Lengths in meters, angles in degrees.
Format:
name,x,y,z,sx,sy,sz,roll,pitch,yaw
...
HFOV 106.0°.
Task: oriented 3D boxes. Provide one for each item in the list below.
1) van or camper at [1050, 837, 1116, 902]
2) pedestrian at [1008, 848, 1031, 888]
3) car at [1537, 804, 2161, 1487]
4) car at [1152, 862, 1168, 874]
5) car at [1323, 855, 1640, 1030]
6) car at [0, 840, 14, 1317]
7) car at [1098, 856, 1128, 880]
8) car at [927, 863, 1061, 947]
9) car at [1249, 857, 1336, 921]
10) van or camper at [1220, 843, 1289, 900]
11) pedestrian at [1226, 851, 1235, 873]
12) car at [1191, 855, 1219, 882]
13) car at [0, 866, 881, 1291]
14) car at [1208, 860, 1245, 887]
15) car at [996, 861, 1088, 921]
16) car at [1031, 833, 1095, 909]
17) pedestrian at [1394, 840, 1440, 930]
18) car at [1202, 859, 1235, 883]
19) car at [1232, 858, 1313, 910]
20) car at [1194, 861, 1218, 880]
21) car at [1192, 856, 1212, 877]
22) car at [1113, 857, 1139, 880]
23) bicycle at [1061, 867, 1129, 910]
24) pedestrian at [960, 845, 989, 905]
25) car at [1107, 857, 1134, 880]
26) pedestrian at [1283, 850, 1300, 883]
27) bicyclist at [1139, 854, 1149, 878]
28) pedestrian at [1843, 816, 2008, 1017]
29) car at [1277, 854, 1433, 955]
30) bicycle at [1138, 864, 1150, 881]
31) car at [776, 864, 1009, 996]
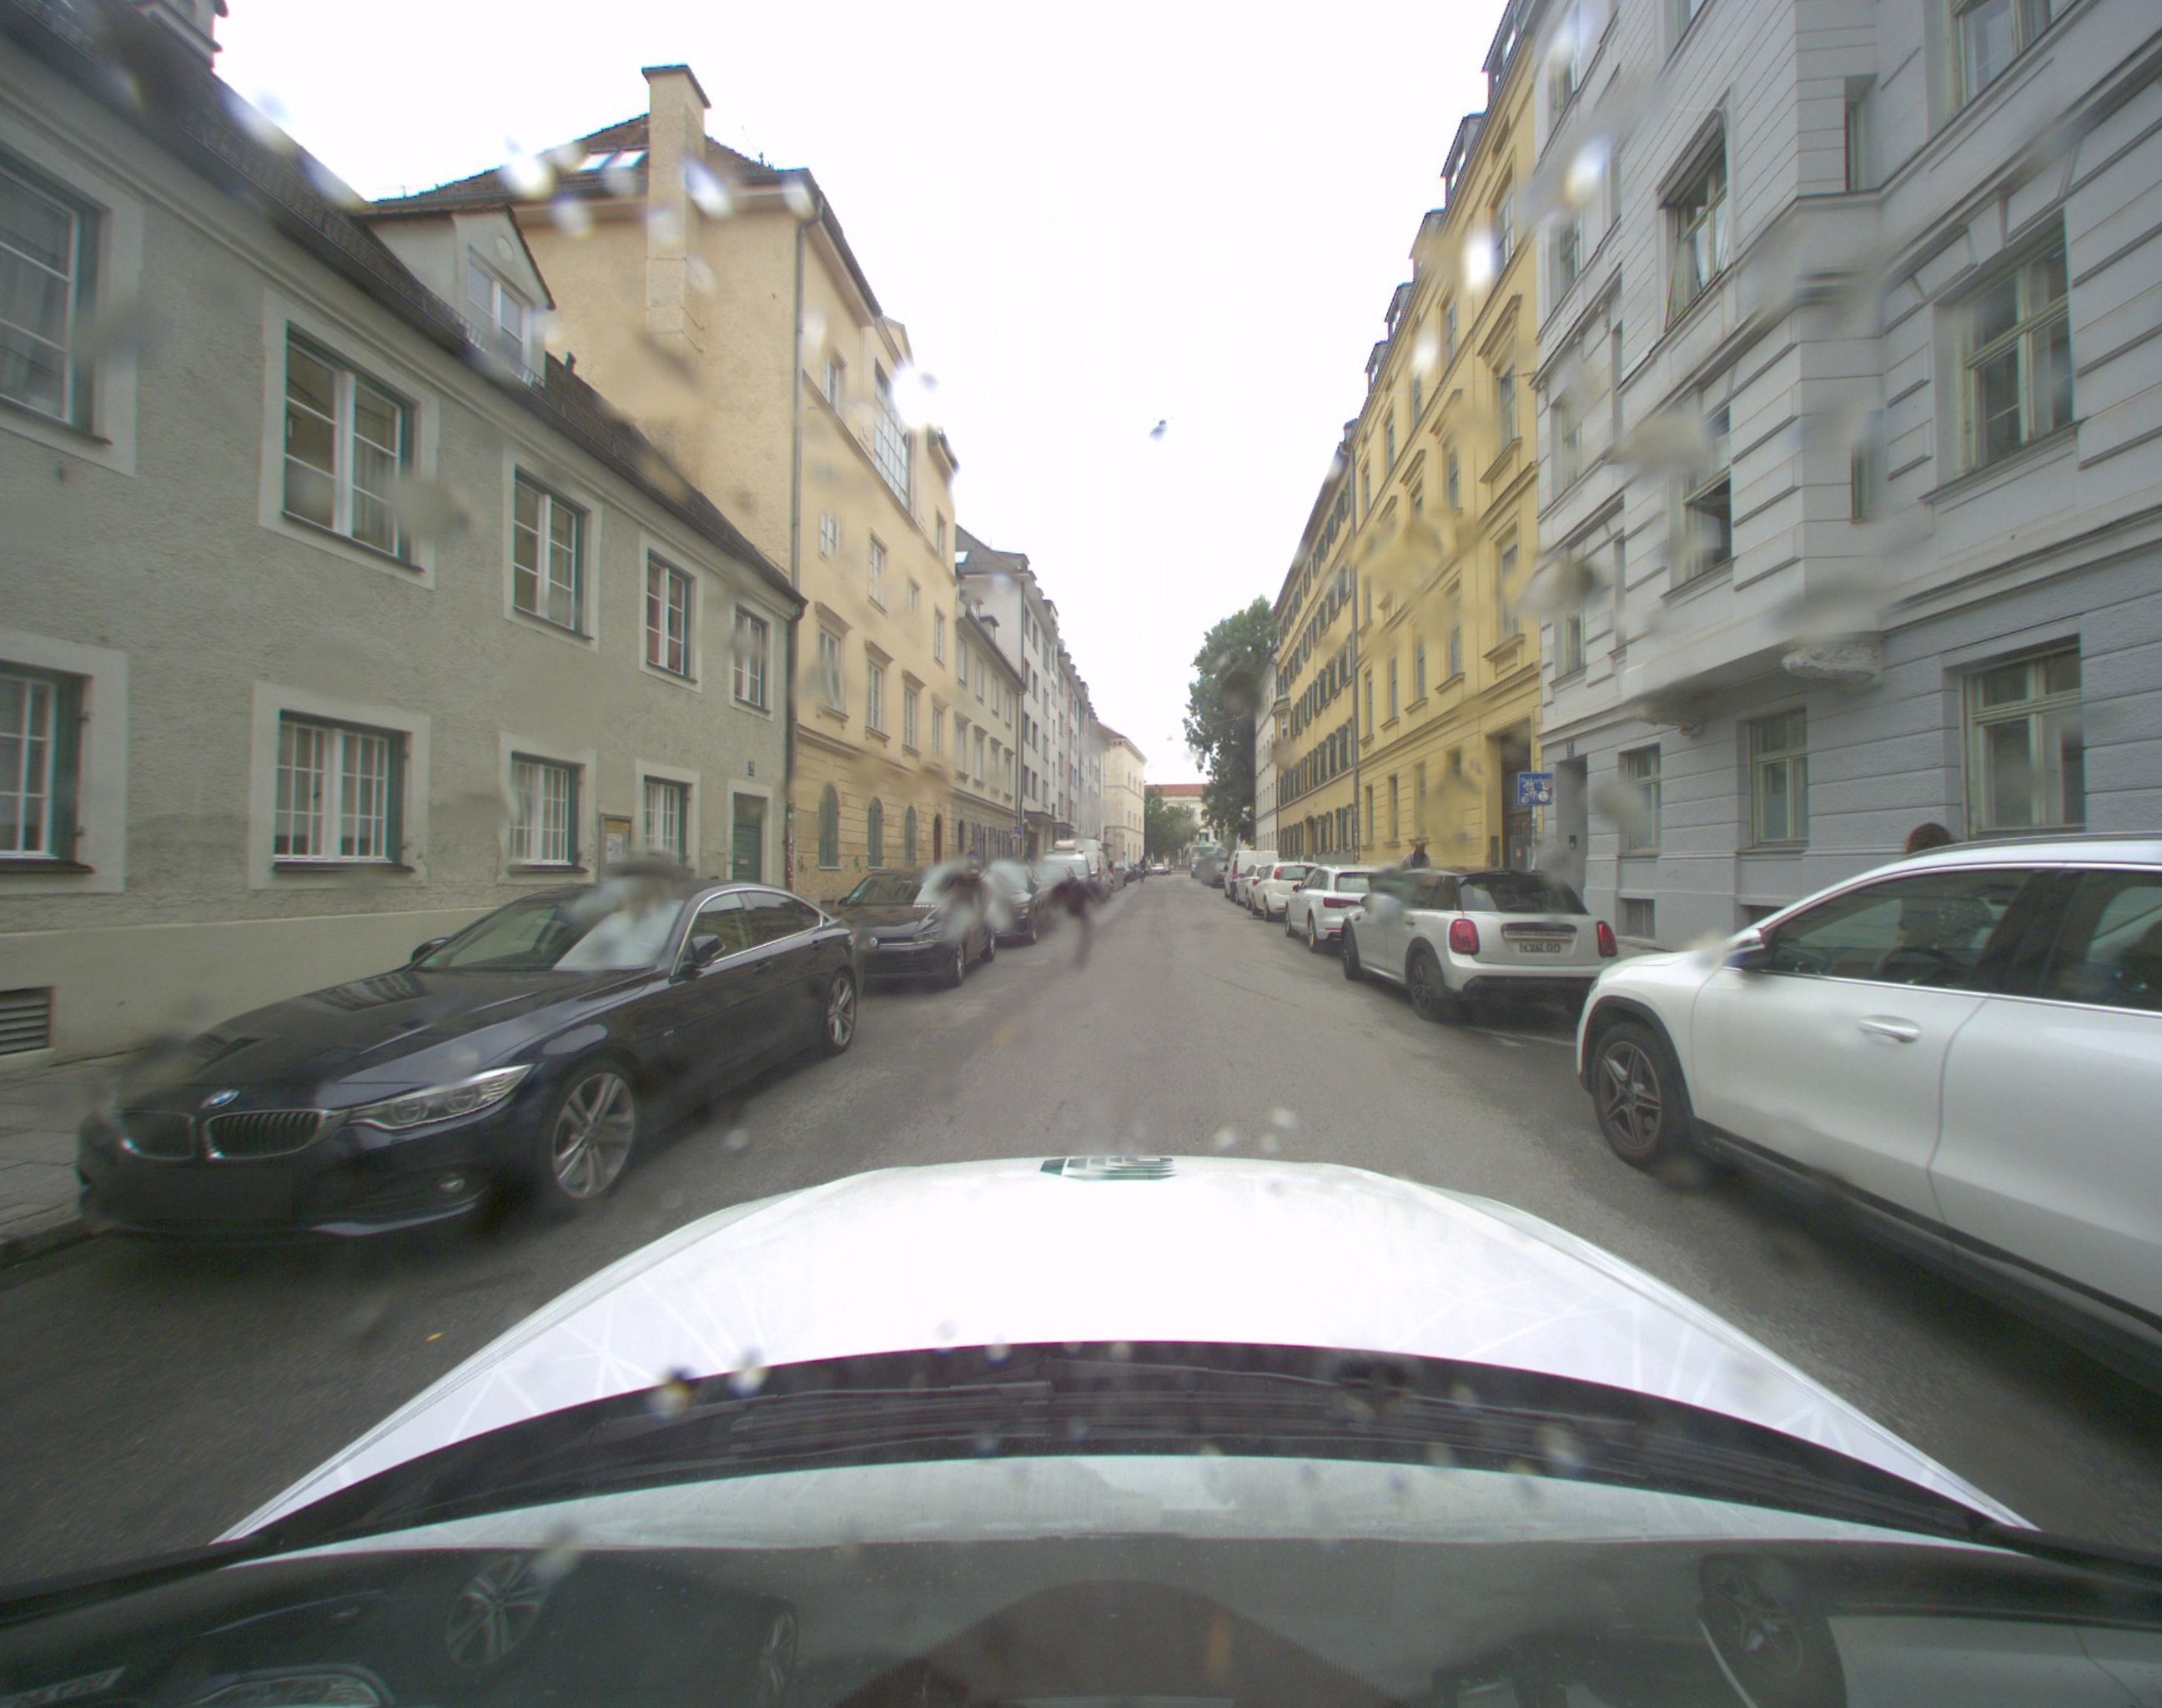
name,x,y,z,sx,sy,sz,roll,pitch,yaw
van or camper,0.174,0.556,31.640,1.983,2.311,5.487,0,0,6
pedestrian,-2.668,0.614,35.572,0.801,1.712,1.023,0,0,7
car,3.460,0.688,2.751,1.709,1.601,4.328,0,-1,5
car,10.432,1.886,107.410,1.767,1.535,4.223,-2,-2,10
car,4.040,0.780,9.013,1.710,1.510,3.939,0,-1,2
car,-3.407,0.703,0.233,1.562,1.514,3.426,1,0,3
car,1.907,0.805,49.426,1.634,1.354,4.057,-1,0,0
car,-1.554,0.900,16.106,1.849,1.401,4.274,1,0,4
car,5.398,0.847,21.171,1.615,1.510,3.767,0,-1,5
van or camper,6.546,0.638,31.299,1.984,2.014,5.240,0,0,5
pedestrian,14.995,0.801,81.874,0.789,2.197,0.815,1,-1,6
car,8.792,1.062,58.031,1.837,1.776,4.208,2,-1,7
car,-2.876,0.803,4.997,1.848,1.401,4.276,1,0,6
car,8.106,1.064,45.680,1.737,1.464,4.007,0,0,6
car,-0.909,0.884,21.251,1.849,1.401,4.274,1,0,4
car,-0.495,0.525,26.100,1.851,2.201,4.561,1,0,1
pedestrian,7.127,0.649,17.314,0.698,1.862,0.806,0,-1,4
car,8.615,1.040,51.231,1.705,1.424,4.463,0,-1,5
car,5.966,0.888,25.851,1.808,1.510,4.592,0,-1,4
car,10.982,1.449,71.807,1.799,1.600,4.220,1,-1,4
car,11.594,1.195,77.900,1.871,1.924,4.885,0,-1,8
car,3.647,1.122,65.459,1.863,1.688,4.527,-2,0,5
bicycle,0.336,0.847,20.113,1.617,1.042,0.350,-1,-1,15
pedestrian,-3.599,0.696,27.577,0.801,2.014,0.751,0,-1,7
car,2.954,1.053,59.992,1.764,1.539,4.165,-2,0,5
pedestrian,10.665,0.616,41.232,0.594,1.639,0.897,-3,-1,4
bicyclist,4.235,0.803,54.825,0.683,1.627,0.854,1,-1,5
pedestrian,7.027,0.499,6.807,0.642,1.575,0.625,-3,-1,4
car,4.665,0.778,14.505,1.708,1.510,4.476,0,-1,6
bicycle,4.248,1.237,54.786,0.729,1.151,2.002,0,-1,5
car,-2.266,0.855,11.073,1.849,1.401,4.274,1,0,4
